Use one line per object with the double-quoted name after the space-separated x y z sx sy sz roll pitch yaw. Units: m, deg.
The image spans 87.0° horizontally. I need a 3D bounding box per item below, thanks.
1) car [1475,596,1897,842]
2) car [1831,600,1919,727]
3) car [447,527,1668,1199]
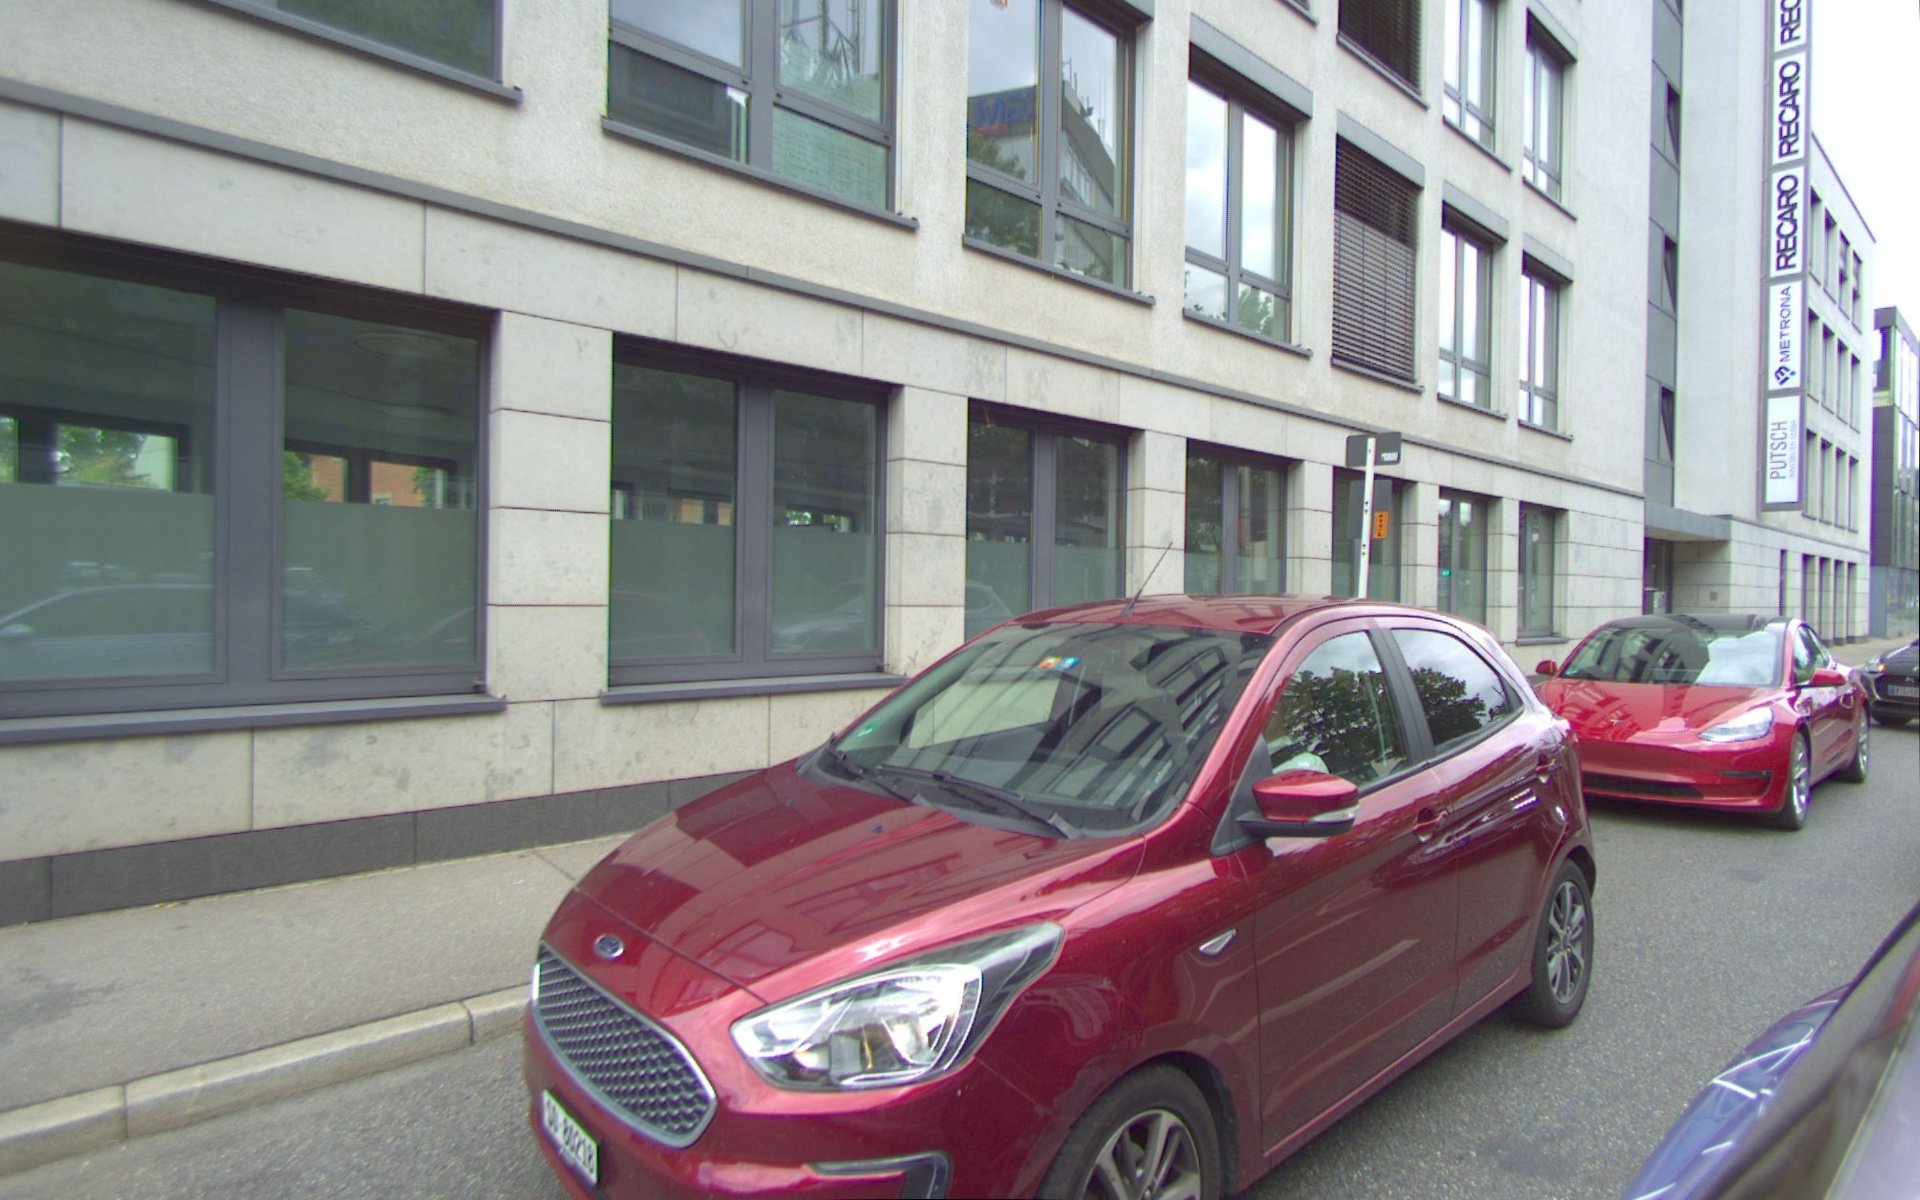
6.047 0.732 8.221 4.331 1.476 1.823 0 -1 -41 "car"
13.018 0.727 12.037 3.665 1.476 1.744 0 -1 3 "car"
0.661 0.682 3.394 3.930 1.511 1.888 0 -2 -41 "car"
